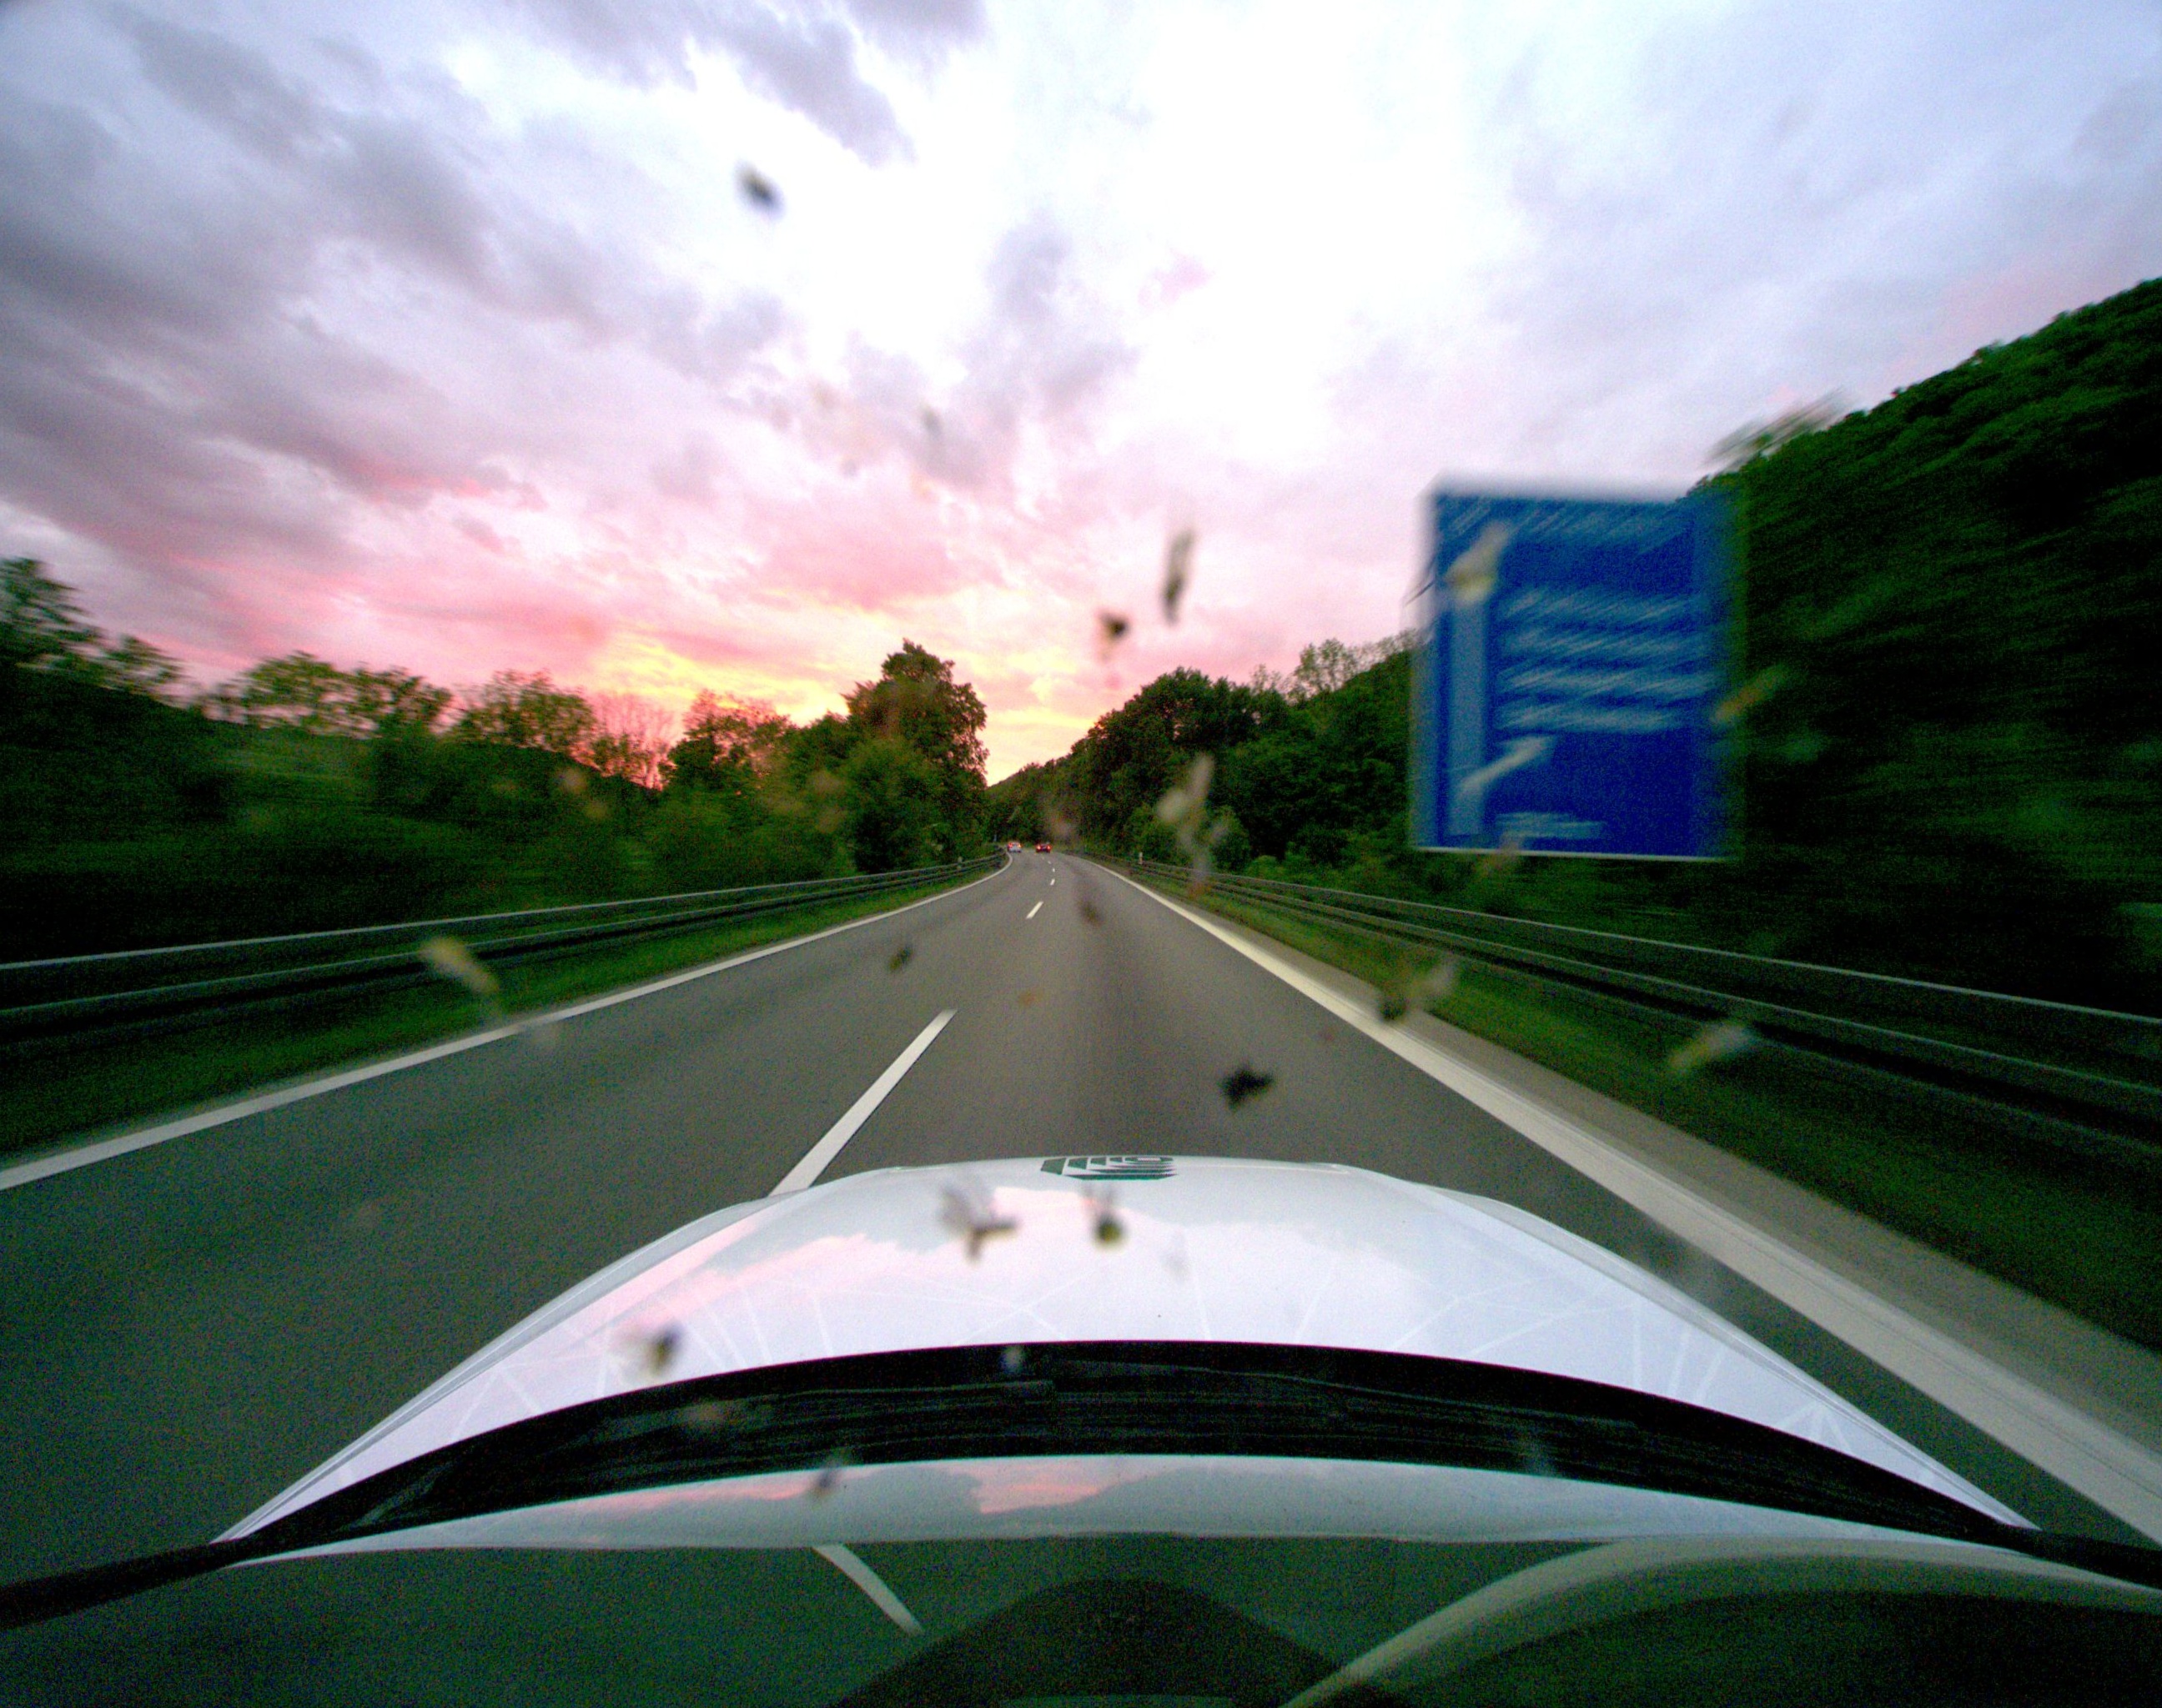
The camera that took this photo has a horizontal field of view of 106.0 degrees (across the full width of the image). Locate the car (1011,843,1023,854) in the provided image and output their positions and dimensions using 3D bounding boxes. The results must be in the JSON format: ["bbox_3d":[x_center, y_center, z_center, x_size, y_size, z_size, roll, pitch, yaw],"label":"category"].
[{"bbox_3d":[-9.773,-0.822,124.596,1.714,1.501,3.995,0,-1,-3],"label":"car"}]

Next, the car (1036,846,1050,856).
[{"bbox_3d":[-5.672,-0.409,122.574,1.872,1.466,4.000,-1,0,0],"label":"car"}]
